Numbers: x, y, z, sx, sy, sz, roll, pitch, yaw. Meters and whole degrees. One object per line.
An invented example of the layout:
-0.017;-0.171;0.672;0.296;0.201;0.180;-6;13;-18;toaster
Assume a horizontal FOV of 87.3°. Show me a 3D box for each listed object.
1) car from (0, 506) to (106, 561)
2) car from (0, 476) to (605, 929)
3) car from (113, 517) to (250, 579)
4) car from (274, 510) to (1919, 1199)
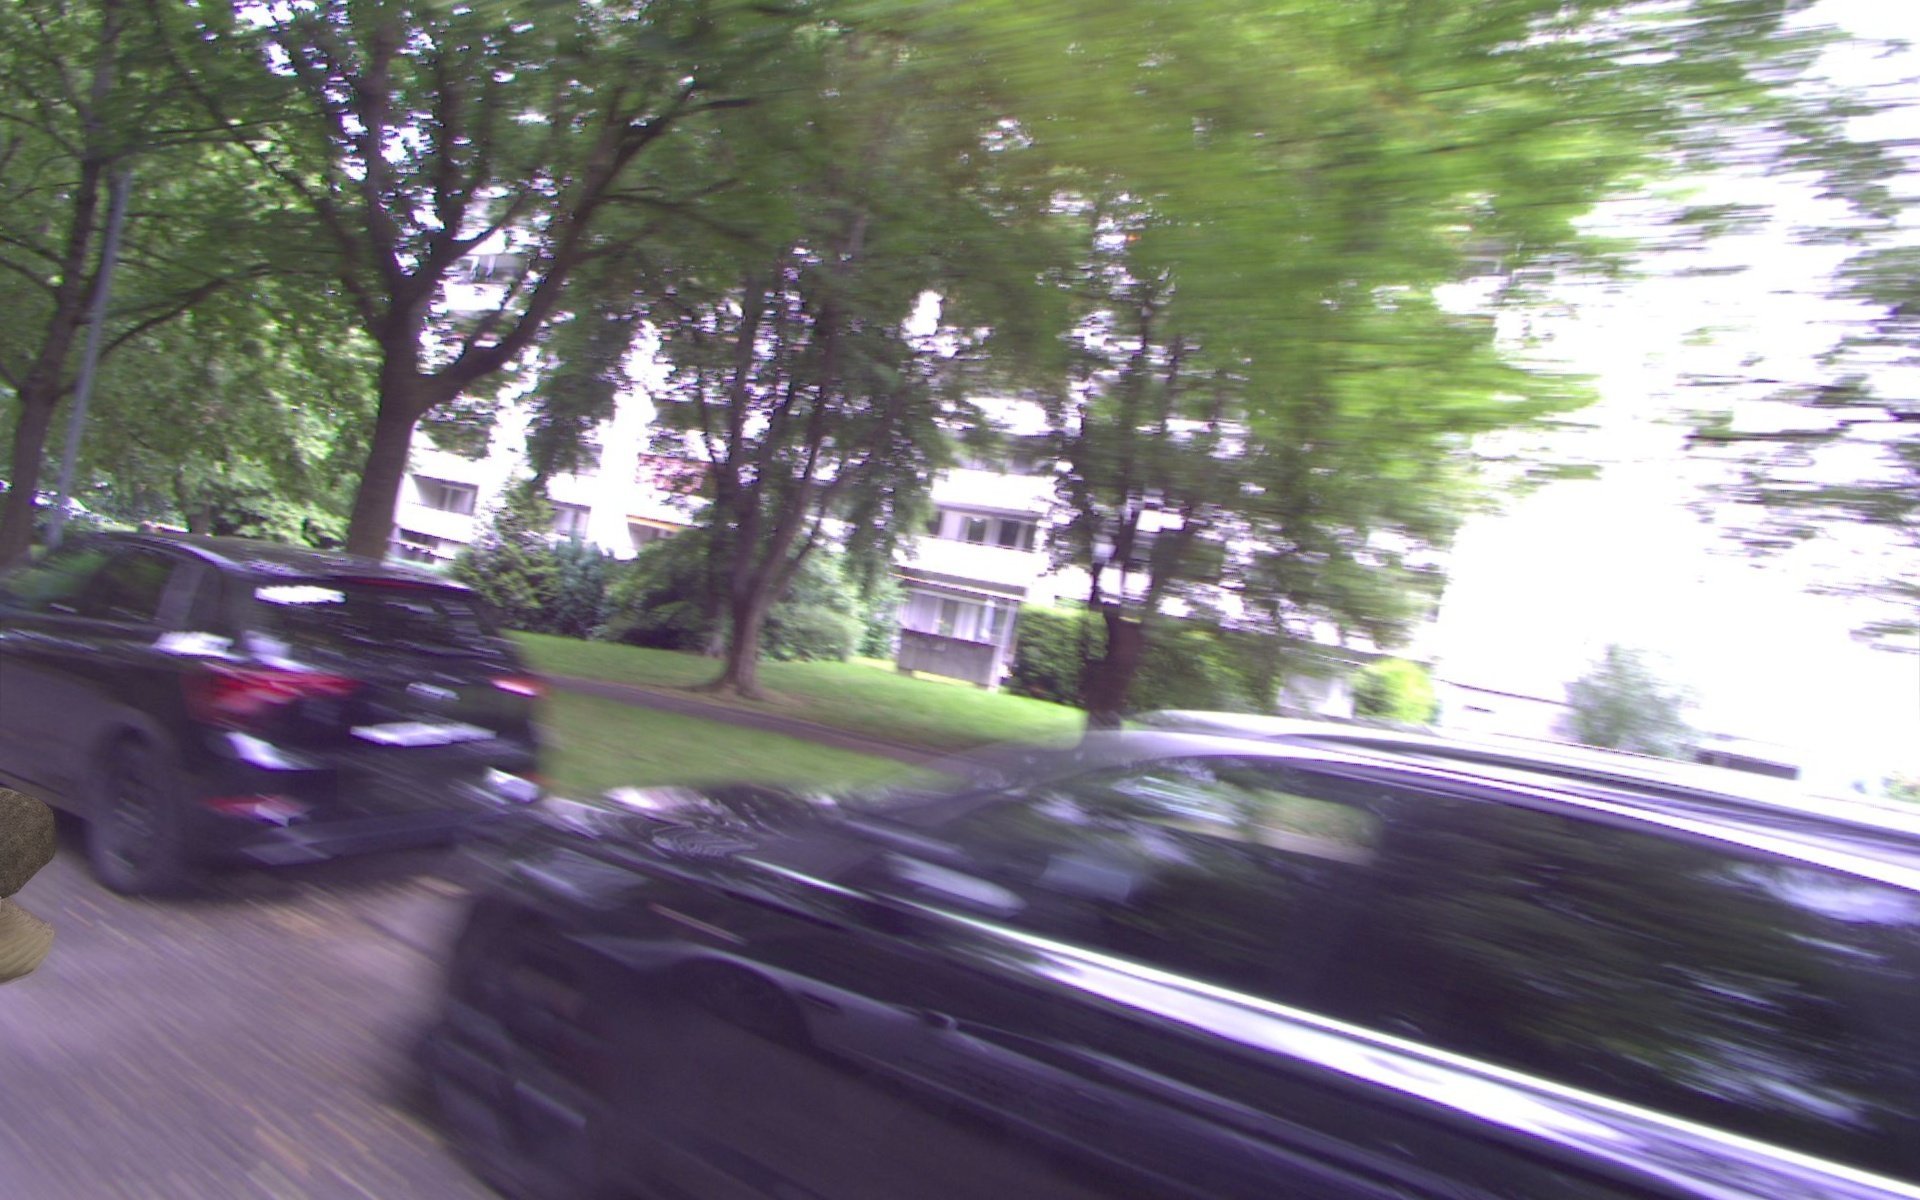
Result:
-37.891;-2.784;41.532;1.803;1.587;3.524;8;-3;34;car
-3.926;0.261;5.200;3.830;1.482;1.686;8;0;28;car
-35.260;-2.316;45.671;1.802;1.868;4.408;8;-3;32;car
0.542;0.914;2.464;4.658;1.629;1.917;8;-2;34;car
